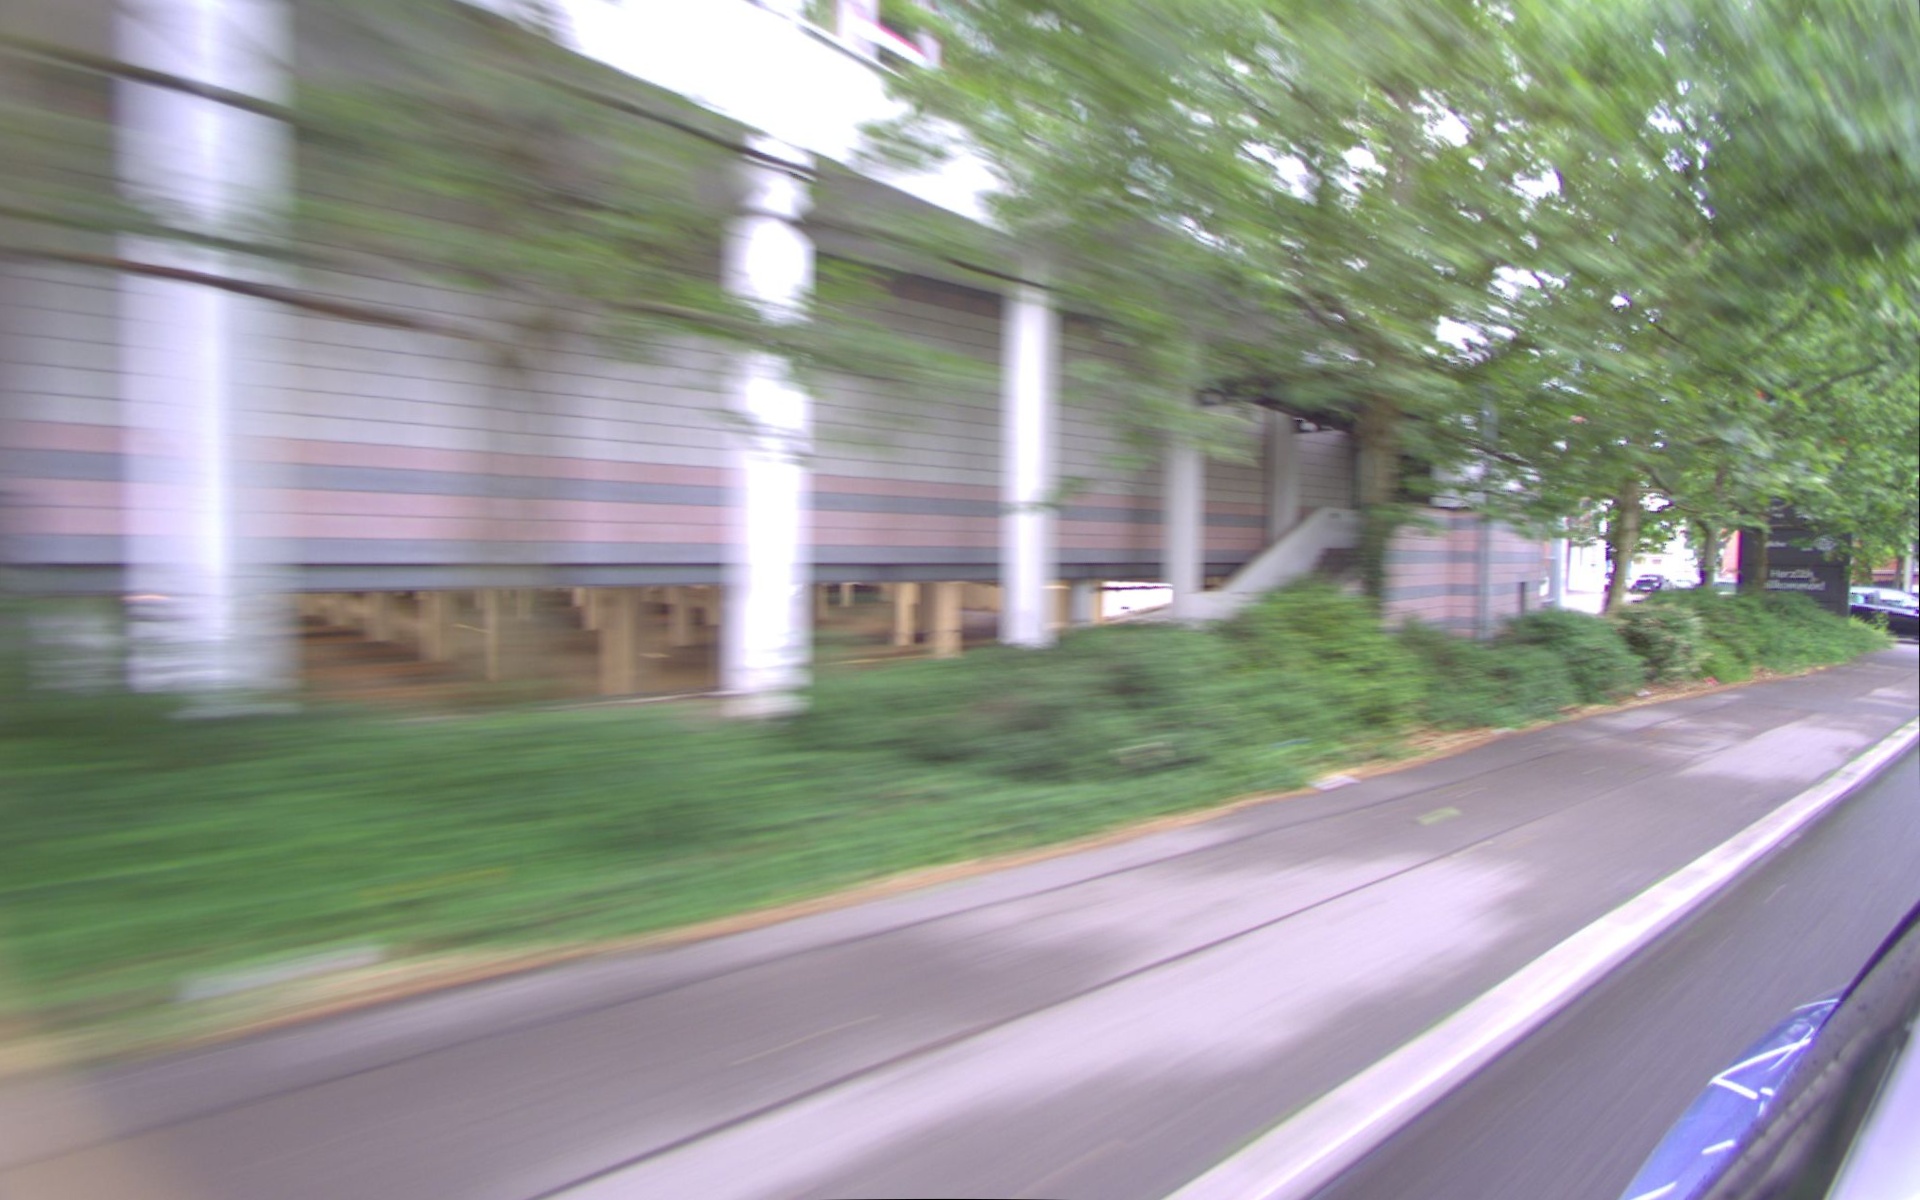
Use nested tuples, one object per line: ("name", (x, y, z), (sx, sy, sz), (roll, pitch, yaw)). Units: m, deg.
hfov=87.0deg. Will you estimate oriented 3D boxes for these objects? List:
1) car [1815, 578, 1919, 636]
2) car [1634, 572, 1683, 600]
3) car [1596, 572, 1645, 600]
("car", (27.501, 0.211, 29.470), (3.850, 1.566, 1.995), (4, 4, 44))
("car", (49.452, -1.024, 71.643), (3.928, 1.840, 1.912), (-3, 2, -40))
("car", (47.846, -1.018, 73.277), (3.928, 1.840, 1.912), (-3, 2, -40))
